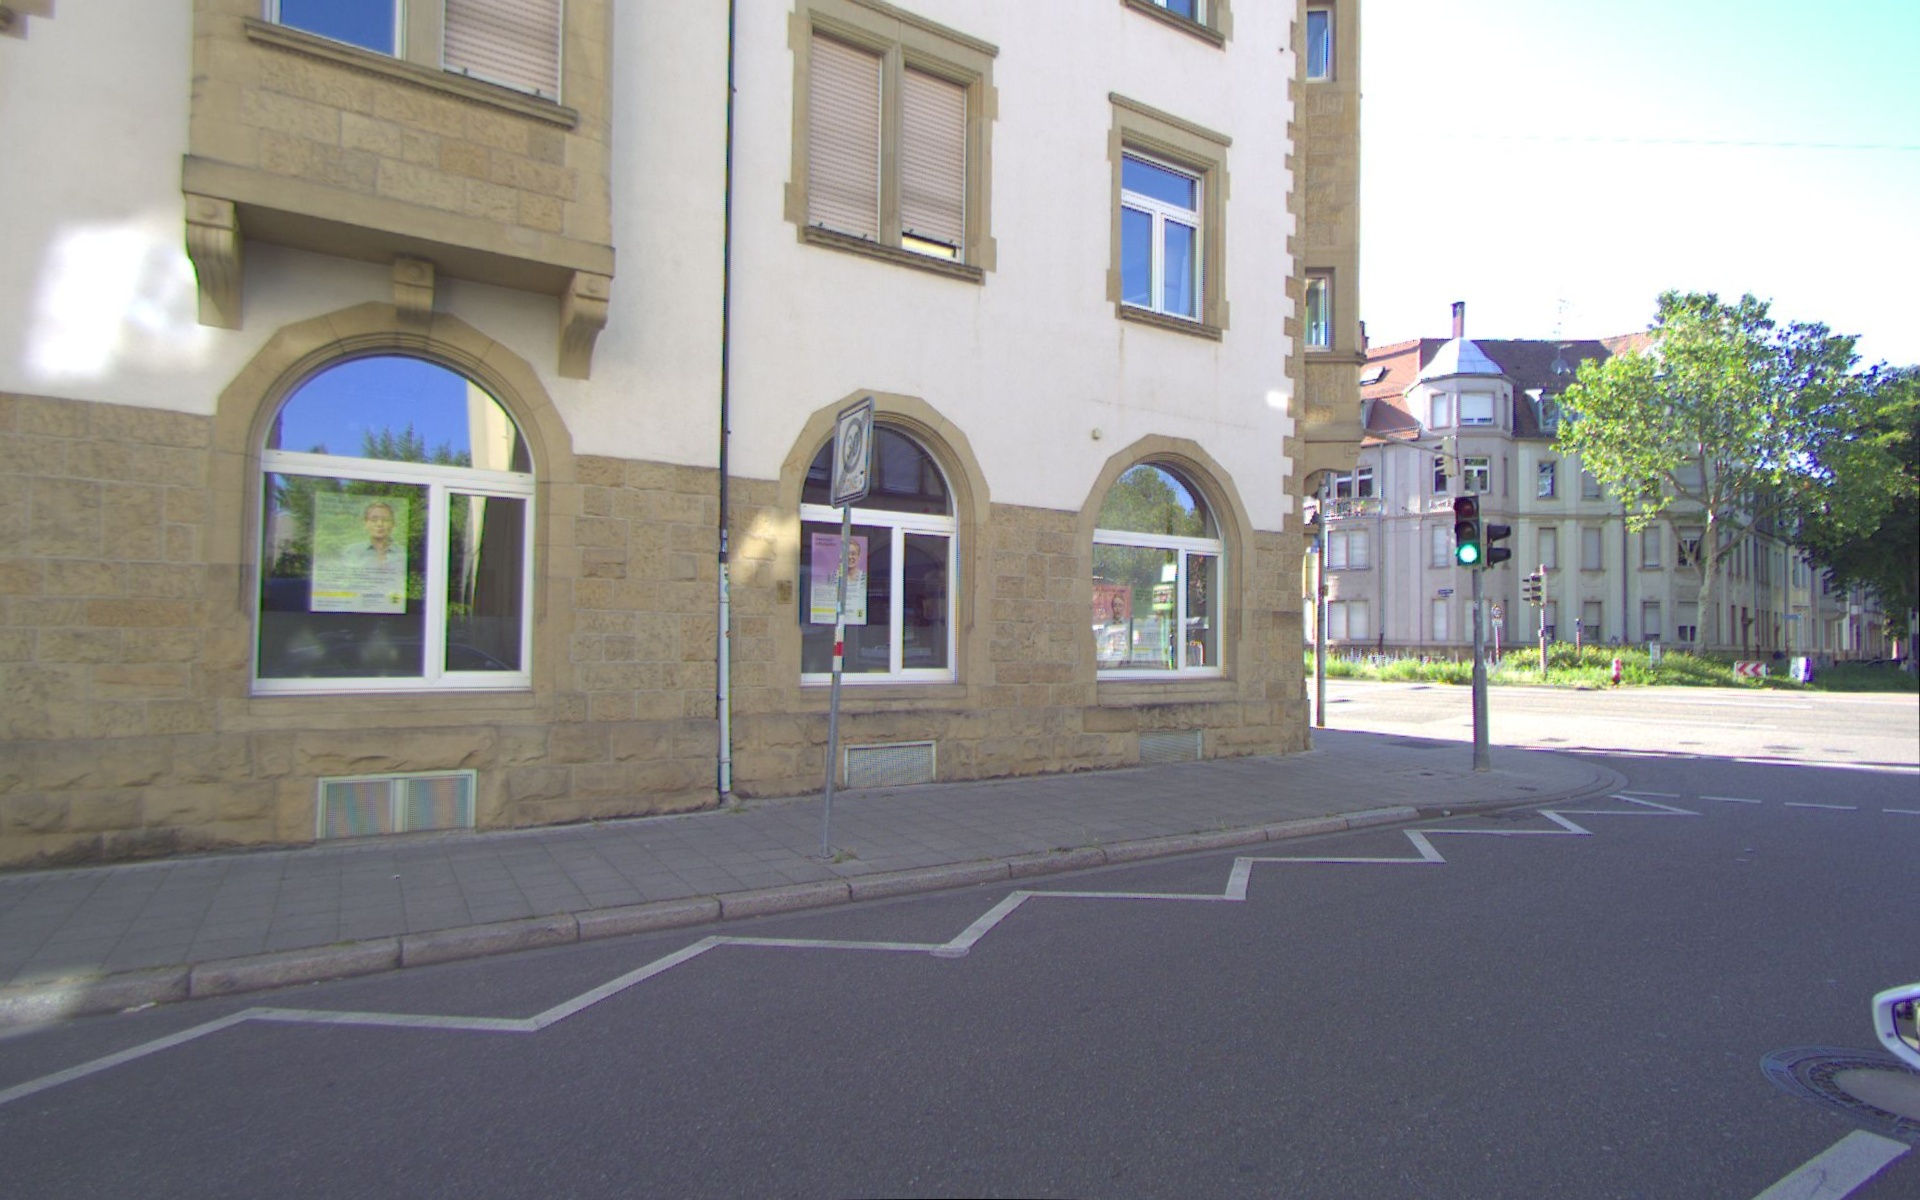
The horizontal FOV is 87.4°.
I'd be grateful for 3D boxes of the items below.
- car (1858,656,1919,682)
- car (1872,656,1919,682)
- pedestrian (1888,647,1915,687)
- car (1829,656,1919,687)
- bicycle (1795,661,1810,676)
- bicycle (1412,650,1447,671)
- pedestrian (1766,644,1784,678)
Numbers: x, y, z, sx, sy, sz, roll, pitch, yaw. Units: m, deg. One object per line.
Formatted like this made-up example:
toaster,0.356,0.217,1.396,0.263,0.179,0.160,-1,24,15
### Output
car,54.102,3.960,57.270,1.691,1.366,4.173,4,-3,-42
car,57.617,4.177,60.416,1.771,1.502,3.953,3,-3,-41
pedestrian,41.100,2.932,43.864,0.672,1.704,0.690,2,-3,-32
car,45.774,3.518,49.828,1.604,1.495,3.847,3,-4,-42
bicycle,50.354,4.102,60.050,0.961,0.826,0.567,3,0,-44
bicycle,21.911,2.825,46.883,1.419,0.916,0.494,-2,-3,44
pedestrian,41.033,3.058,50.579,0.885,1.680,0.457,3,-3,-35
